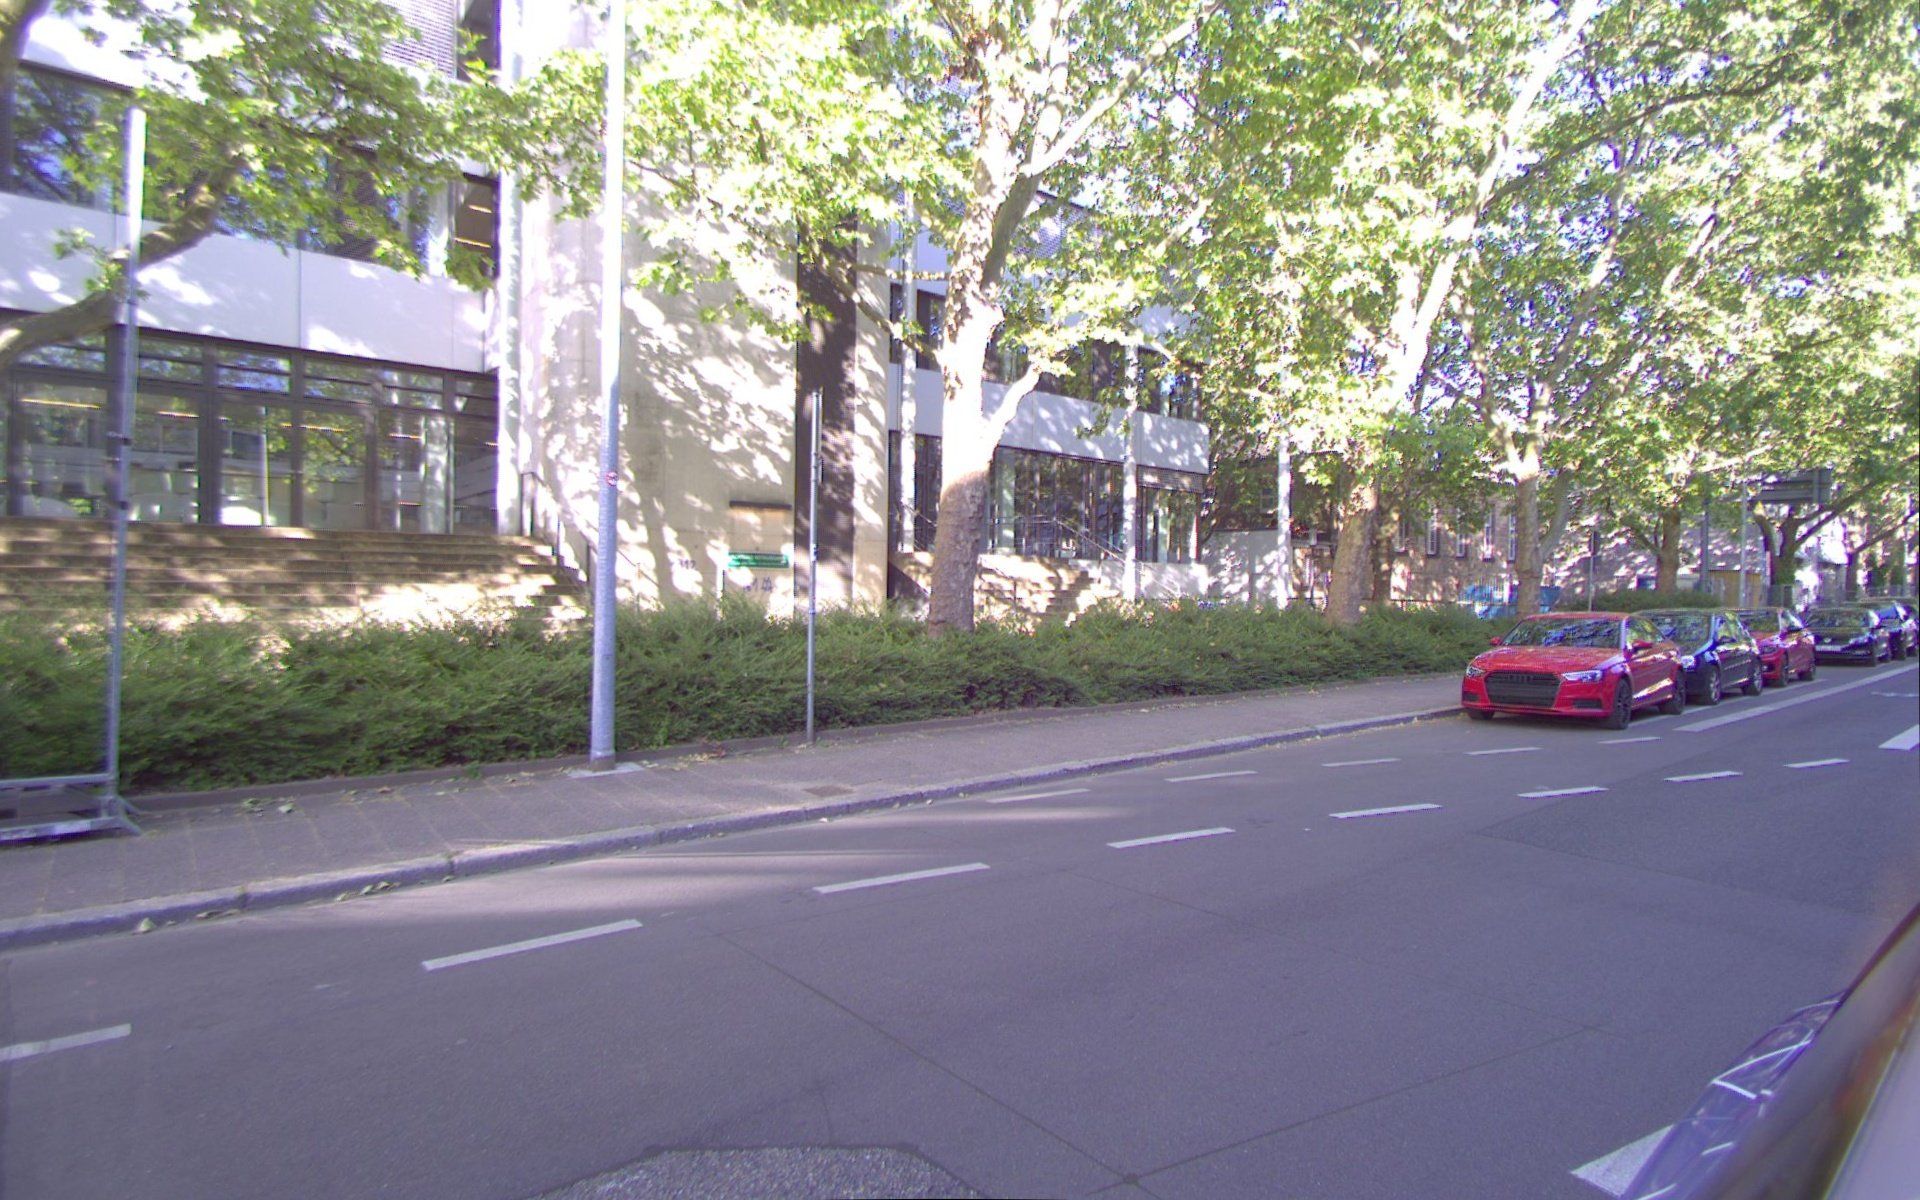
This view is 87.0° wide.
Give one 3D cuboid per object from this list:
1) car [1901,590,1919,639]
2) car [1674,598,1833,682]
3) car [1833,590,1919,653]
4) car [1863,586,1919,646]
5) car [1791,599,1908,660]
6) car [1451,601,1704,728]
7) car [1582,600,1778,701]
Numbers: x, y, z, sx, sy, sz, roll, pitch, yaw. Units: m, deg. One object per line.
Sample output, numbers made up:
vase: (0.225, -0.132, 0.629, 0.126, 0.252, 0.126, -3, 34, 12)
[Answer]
car: (36.208, 0.523, 37.279, 4.370, 1.750, 1.753, 0, -1, -41)
car: (15.716, 0.725, 19.980, 3.841, 1.486, 1.753, 0, -1, -41)
car: (26.728, 0.591, 29.191, 4.101, 1.674, 1.753, 0, -1, -41)
car: (30.985, 0.492, 32.982, 4.370, 1.843, 1.753, 0, -1, -41)
car: (22.961, 0.721, 26.079, 3.841, 1.451, 1.753, 0, -1, -41)
car: (8.289, 0.745, 13.459, 3.930, 1.427, 1.753, 0, -1, -41)
car: (11.864, 0.743, 16.603, 3.841, 1.451, 1.753, 0, -1, -41)
